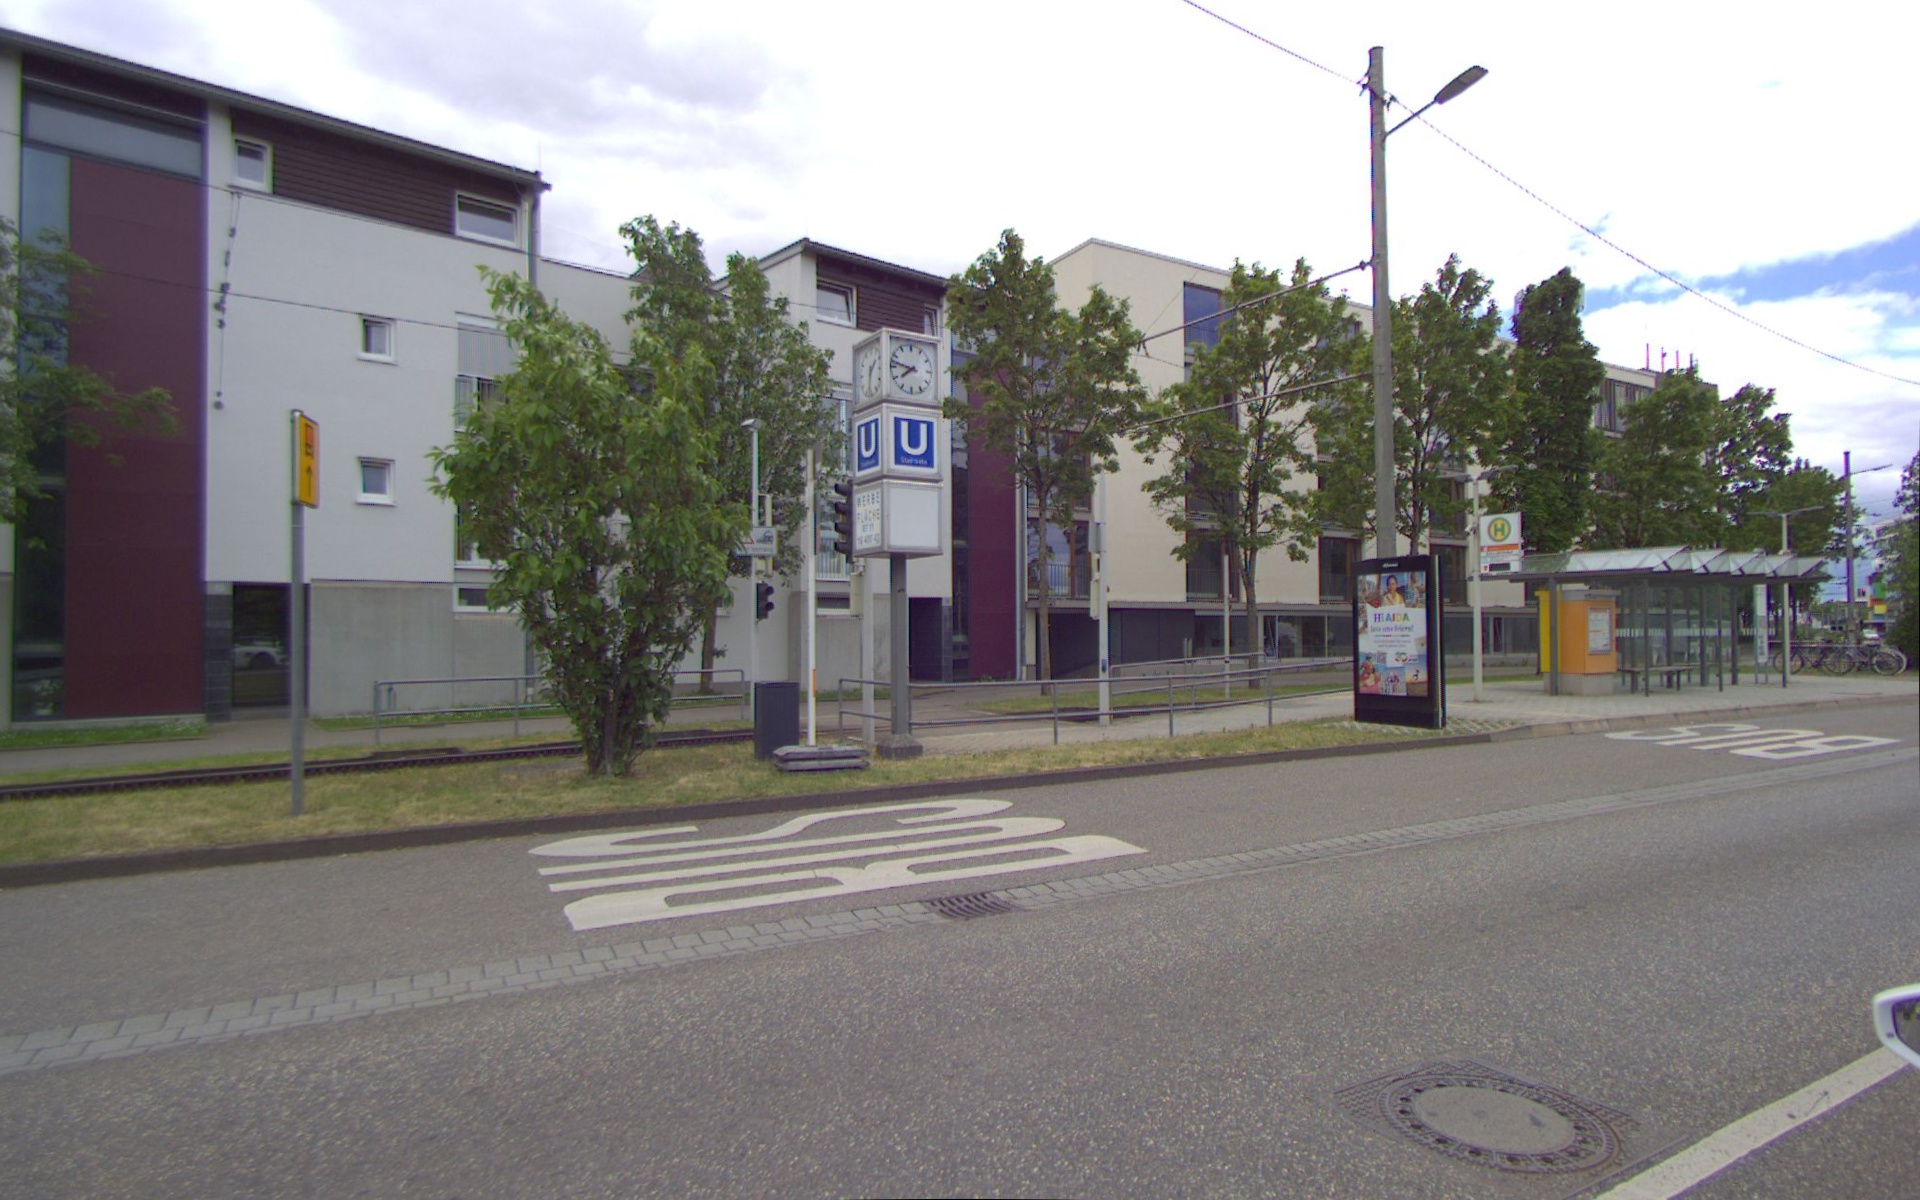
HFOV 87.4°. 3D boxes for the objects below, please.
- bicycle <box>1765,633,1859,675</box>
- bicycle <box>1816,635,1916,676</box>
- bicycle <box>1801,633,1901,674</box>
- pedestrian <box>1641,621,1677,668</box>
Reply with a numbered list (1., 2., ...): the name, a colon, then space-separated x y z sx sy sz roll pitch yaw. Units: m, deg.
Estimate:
1. bicycle: 23.819 1.505 28.120 0.580 1.121 1.921 0 -2 -28
2. bicycle: 26.427 1.598 29.333 0.623 1.121 2.091 1 -1 -28
3. bicycle: 25.756 1.529 29.073 0.623 1.121 2.090 1 -1 -28
4. pedestrian: 27.187 1.723 39.065 0.896 1.788 0.827 1 0 -29
